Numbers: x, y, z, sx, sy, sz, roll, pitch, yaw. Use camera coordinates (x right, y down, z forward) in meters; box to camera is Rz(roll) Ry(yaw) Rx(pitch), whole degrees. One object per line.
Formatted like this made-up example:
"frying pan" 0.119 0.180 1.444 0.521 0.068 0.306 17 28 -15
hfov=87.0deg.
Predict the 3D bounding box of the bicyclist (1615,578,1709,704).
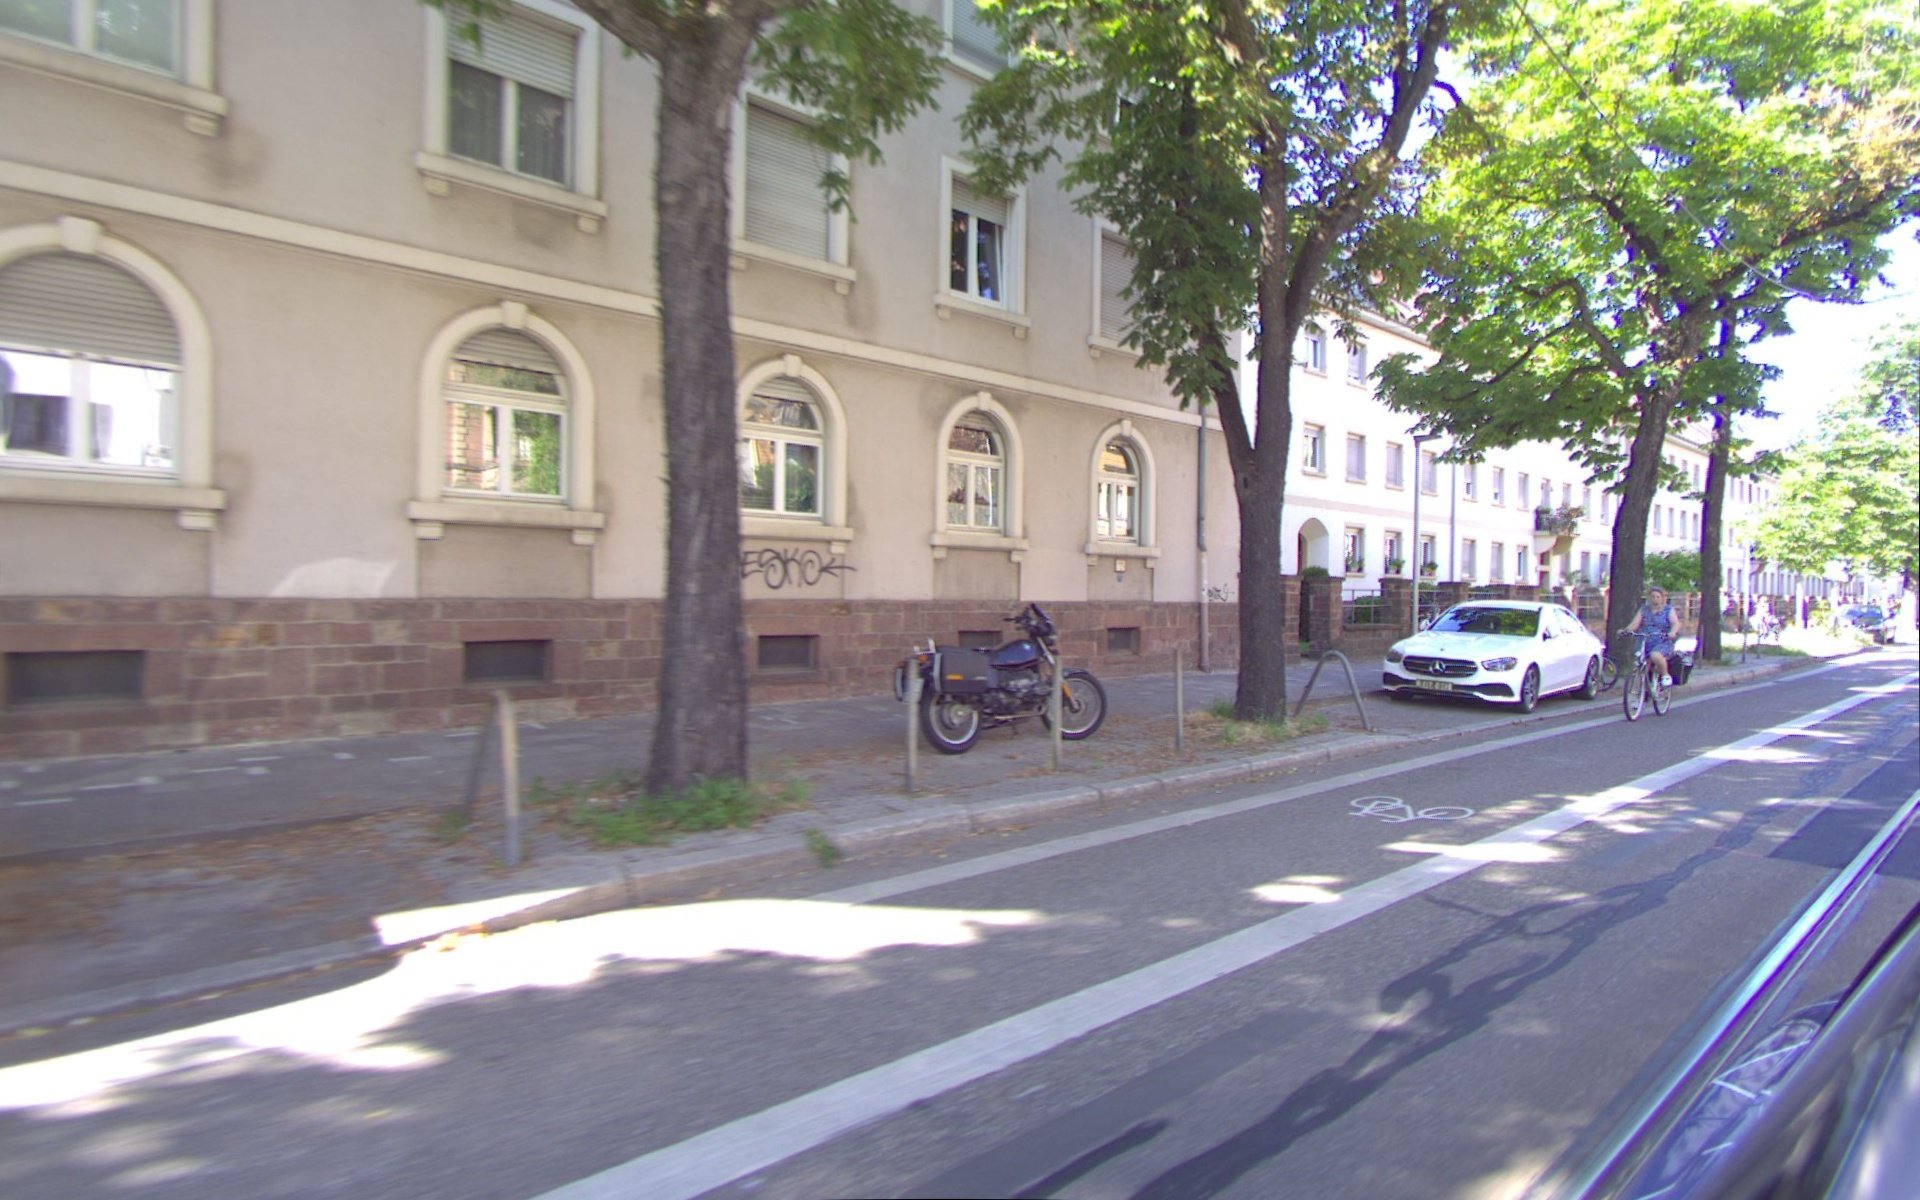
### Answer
"bicyclist" 9.078 0.498 13.077 1.209 1.533 0.775 0 0 -44

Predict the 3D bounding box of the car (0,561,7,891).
"car" -5.538 0.597 2.789 4.140 1.490 1.705 0 2 -41

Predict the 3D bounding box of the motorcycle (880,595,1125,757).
"motorcycle" 0.424 0.599 9.034 2.221 1.266 0.763 0 1 -39

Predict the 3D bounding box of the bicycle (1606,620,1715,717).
"bicycle" 9.071 0.837 13.073 2.024 1.100 0.775 0 0 -44

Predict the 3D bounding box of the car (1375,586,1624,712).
"car" 7.996 0.594 14.788 4.670 1.502 1.821 0 2 -44

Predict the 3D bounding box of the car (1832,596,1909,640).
"car" 33.438 0.615 37.130 4.537 1.485 1.759 0 2 -44

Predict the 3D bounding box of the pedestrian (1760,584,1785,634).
"pedestrian" 33.339 0.357 41.517 0.740 2.039 0.678 1 0 41
